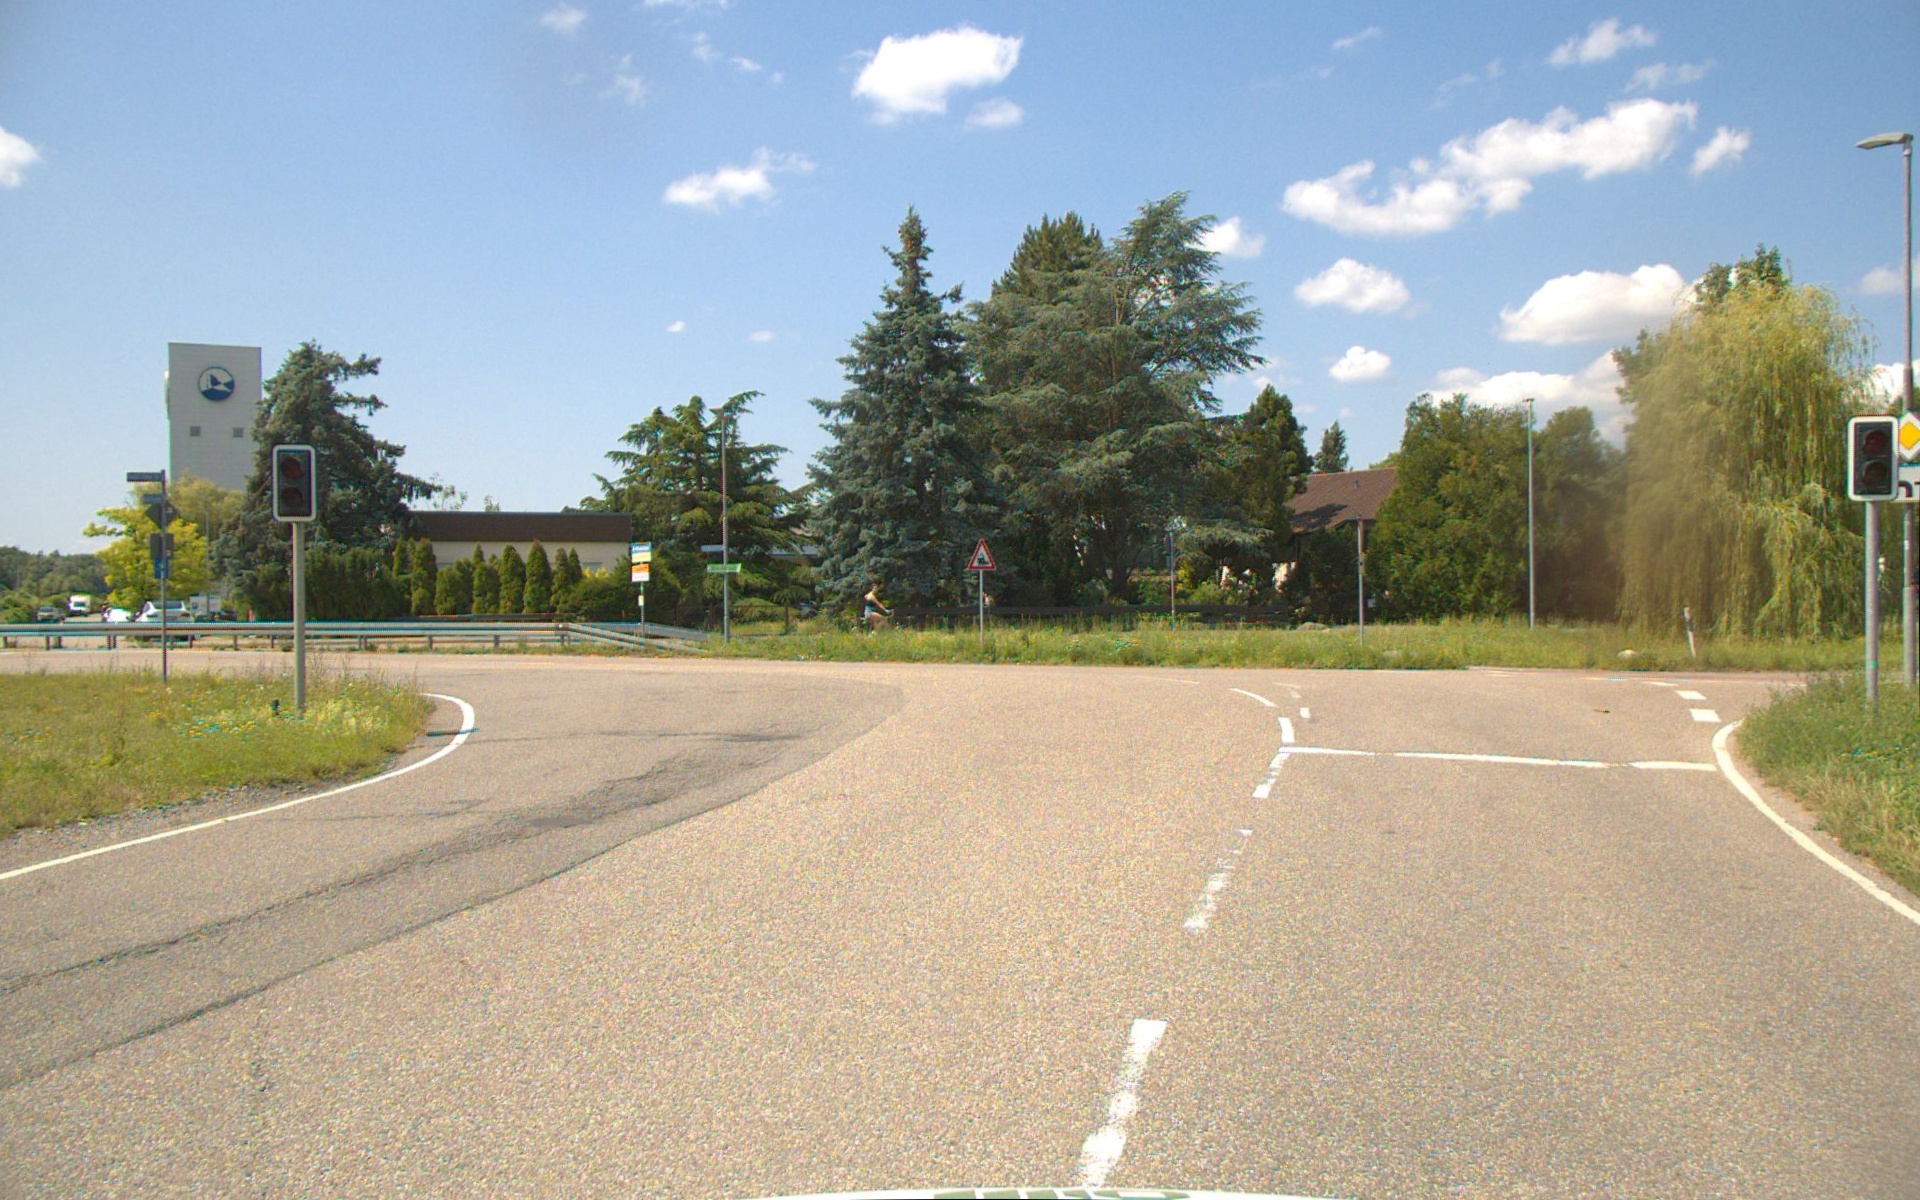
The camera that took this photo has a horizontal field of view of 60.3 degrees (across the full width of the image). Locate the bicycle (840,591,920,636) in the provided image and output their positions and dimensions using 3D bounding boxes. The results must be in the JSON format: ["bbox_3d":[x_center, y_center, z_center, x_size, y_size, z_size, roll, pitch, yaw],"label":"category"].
[{"bbox_3d":[-2.164,0.353,44.694,2.099,1.185,0.660,-1,0,-7],"label":"bicycle"}]

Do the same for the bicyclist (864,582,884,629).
[{"bbox_3d":[-2.320,0.148,44.660,0.500,1.277,0.468,0,0,-7],"label":"bicyclist"}]

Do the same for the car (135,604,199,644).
[{"bbox_3d":[-32.210,0.947,67.113,1.973,1.536,4.408,-1,1,-31],"label":"car"}]
